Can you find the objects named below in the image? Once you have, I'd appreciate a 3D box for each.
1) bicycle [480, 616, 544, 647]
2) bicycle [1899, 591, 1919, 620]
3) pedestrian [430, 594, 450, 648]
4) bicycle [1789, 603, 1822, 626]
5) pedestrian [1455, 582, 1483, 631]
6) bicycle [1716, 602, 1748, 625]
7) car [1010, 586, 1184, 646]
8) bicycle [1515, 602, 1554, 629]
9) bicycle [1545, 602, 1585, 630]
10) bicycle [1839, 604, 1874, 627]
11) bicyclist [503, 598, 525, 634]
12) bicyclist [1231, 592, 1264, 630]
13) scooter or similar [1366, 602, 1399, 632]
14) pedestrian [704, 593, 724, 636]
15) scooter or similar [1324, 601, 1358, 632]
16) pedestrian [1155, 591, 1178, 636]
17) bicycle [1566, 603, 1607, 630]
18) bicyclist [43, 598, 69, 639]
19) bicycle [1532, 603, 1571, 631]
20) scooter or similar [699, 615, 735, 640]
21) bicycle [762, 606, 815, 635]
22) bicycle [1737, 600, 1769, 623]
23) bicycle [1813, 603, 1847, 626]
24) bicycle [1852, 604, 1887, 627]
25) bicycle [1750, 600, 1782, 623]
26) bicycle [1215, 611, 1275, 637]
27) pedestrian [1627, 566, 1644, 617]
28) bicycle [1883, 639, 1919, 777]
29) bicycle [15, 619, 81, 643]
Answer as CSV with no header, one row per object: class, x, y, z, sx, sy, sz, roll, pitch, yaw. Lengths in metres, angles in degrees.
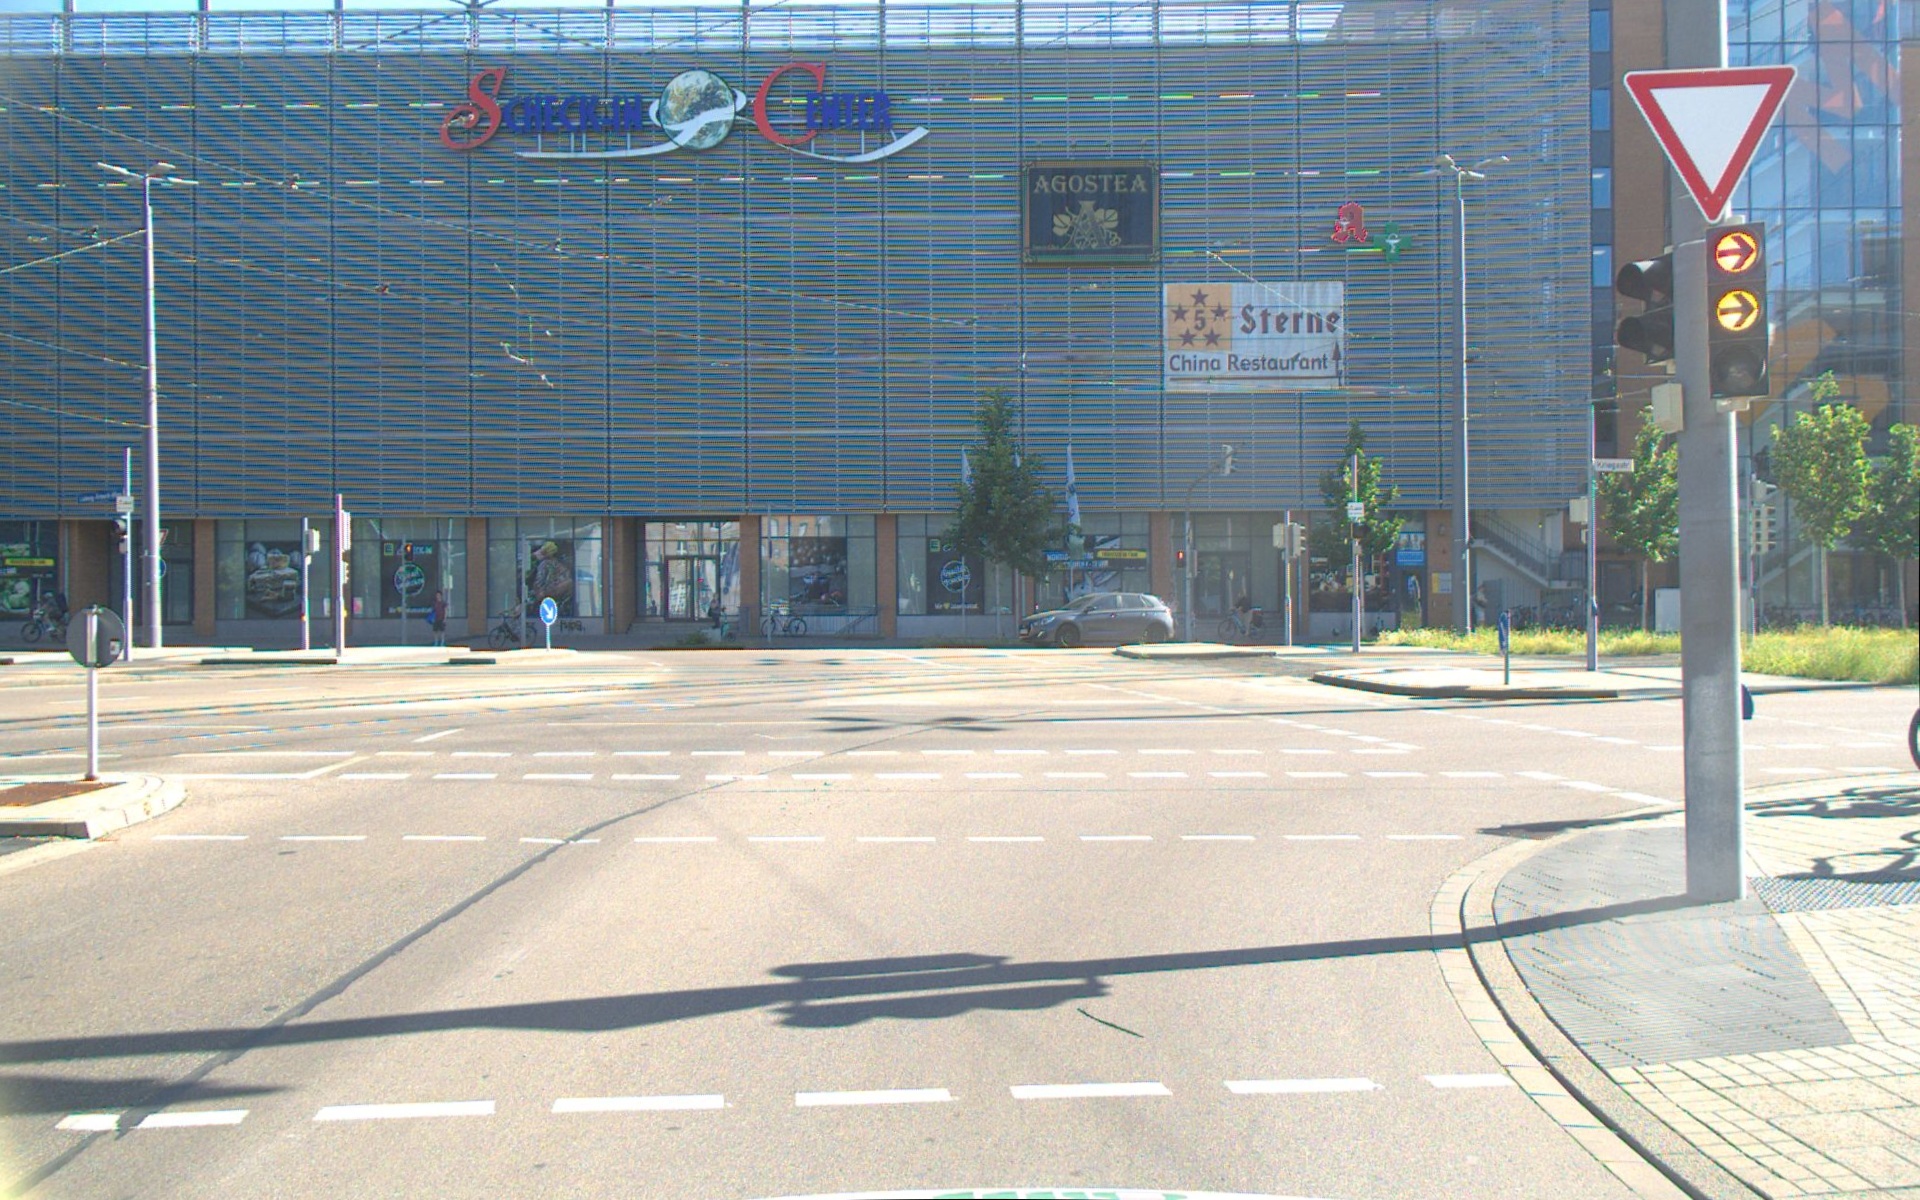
bicycle,-14.758,1.027,54.515,1.997,1.003,0.553,0,0,-34
bicycle,38.937,0.210,66.667,0.736,1.143,2.178,0,1,-6
pedestrian,-17.203,0.687,54.727,0.614,1.782,0.586,0,0,-19
bicycle,32.190,0.546,62.980,0.435,0.833,1.449,0,1,-6
pedestrian,18.203,0.234,59.163,0.763,1.714,0.595,0,0,-14
bicycle,29.392,0.497,62.983,0.435,0.833,1.449,0,1,-6
car,3.660,0.411,44.343,4.231,1.526,1.989,0,0,-20
bicycle,21.316,0.568,61.424,0.482,0.971,2.178,0,1,-6
bicycle,22.531,0.579,61.628,0.482,0.971,2.178,0,1,-6
bicycle,34.347,0.587,63.399,0.435,0.833,1.449,0,1,-6
bicyclist,-14.707,0.531,54.555,0.557,1.159,0.553,0,0,-34
bicyclist,10.177,0.390,58.608,1.015,1.341,0.682,0,0,-2
scooter or similar,15.865,0.643,62.106,1.177,1.122,0.277,1,-1,1
pedestrian,-8.897,0.536,59.825,0.633,1.545,0.491,0,0,4
scooter or similar,14.254,0.614,61.897,1.177,1.122,0.277,1,-1,1
pedestrian,6.955,0.453,55.650,0.723,1.513,0.490,0,0,9
bicycle,23.414,0.607,61.848,0.482,0.971,2.178,0,1,-6
bicyclist,-32.067,0.656,58.667,0.641,1.435,0.559,0,0,-2
bicycle,22.001,0.614,61.525,0.482,0.971,2.178,0,1,-6
scooter or similar,-8.254,0.932,56.186,1.198,0.866,0.301,0,0,-4
bicycle,-6.254,0.748,60.479,1.907,1.056,0.572,0,0,-5
bicycle,30.333,0.445,63.274,0.435,0.833,1.449,0,1,-6
bicycle,33.061,0.562,62.871,0.435,0.833,1.449,0,1,-6
bicycle,34.879,0.594,63.444,0.435,0.833,1.449,0,1,-6
bicycle,30.854,0.433,63.329,0.435,0.833,1.449,0,1,-6
bicycle,10.083,0.856,58.606,2.000,0.882,0.682,0,0,-2
pedestrian,25.828,-0.316,63.231,0.528,1.948,0.374,1,-1,7
bicycle,7.785,0.822,12.313,0.593,1.056,1.893,-1,-1,-6
bicycle,-32.338,1.080,58.659,1.974,0.825,0.559,0,0,-2
